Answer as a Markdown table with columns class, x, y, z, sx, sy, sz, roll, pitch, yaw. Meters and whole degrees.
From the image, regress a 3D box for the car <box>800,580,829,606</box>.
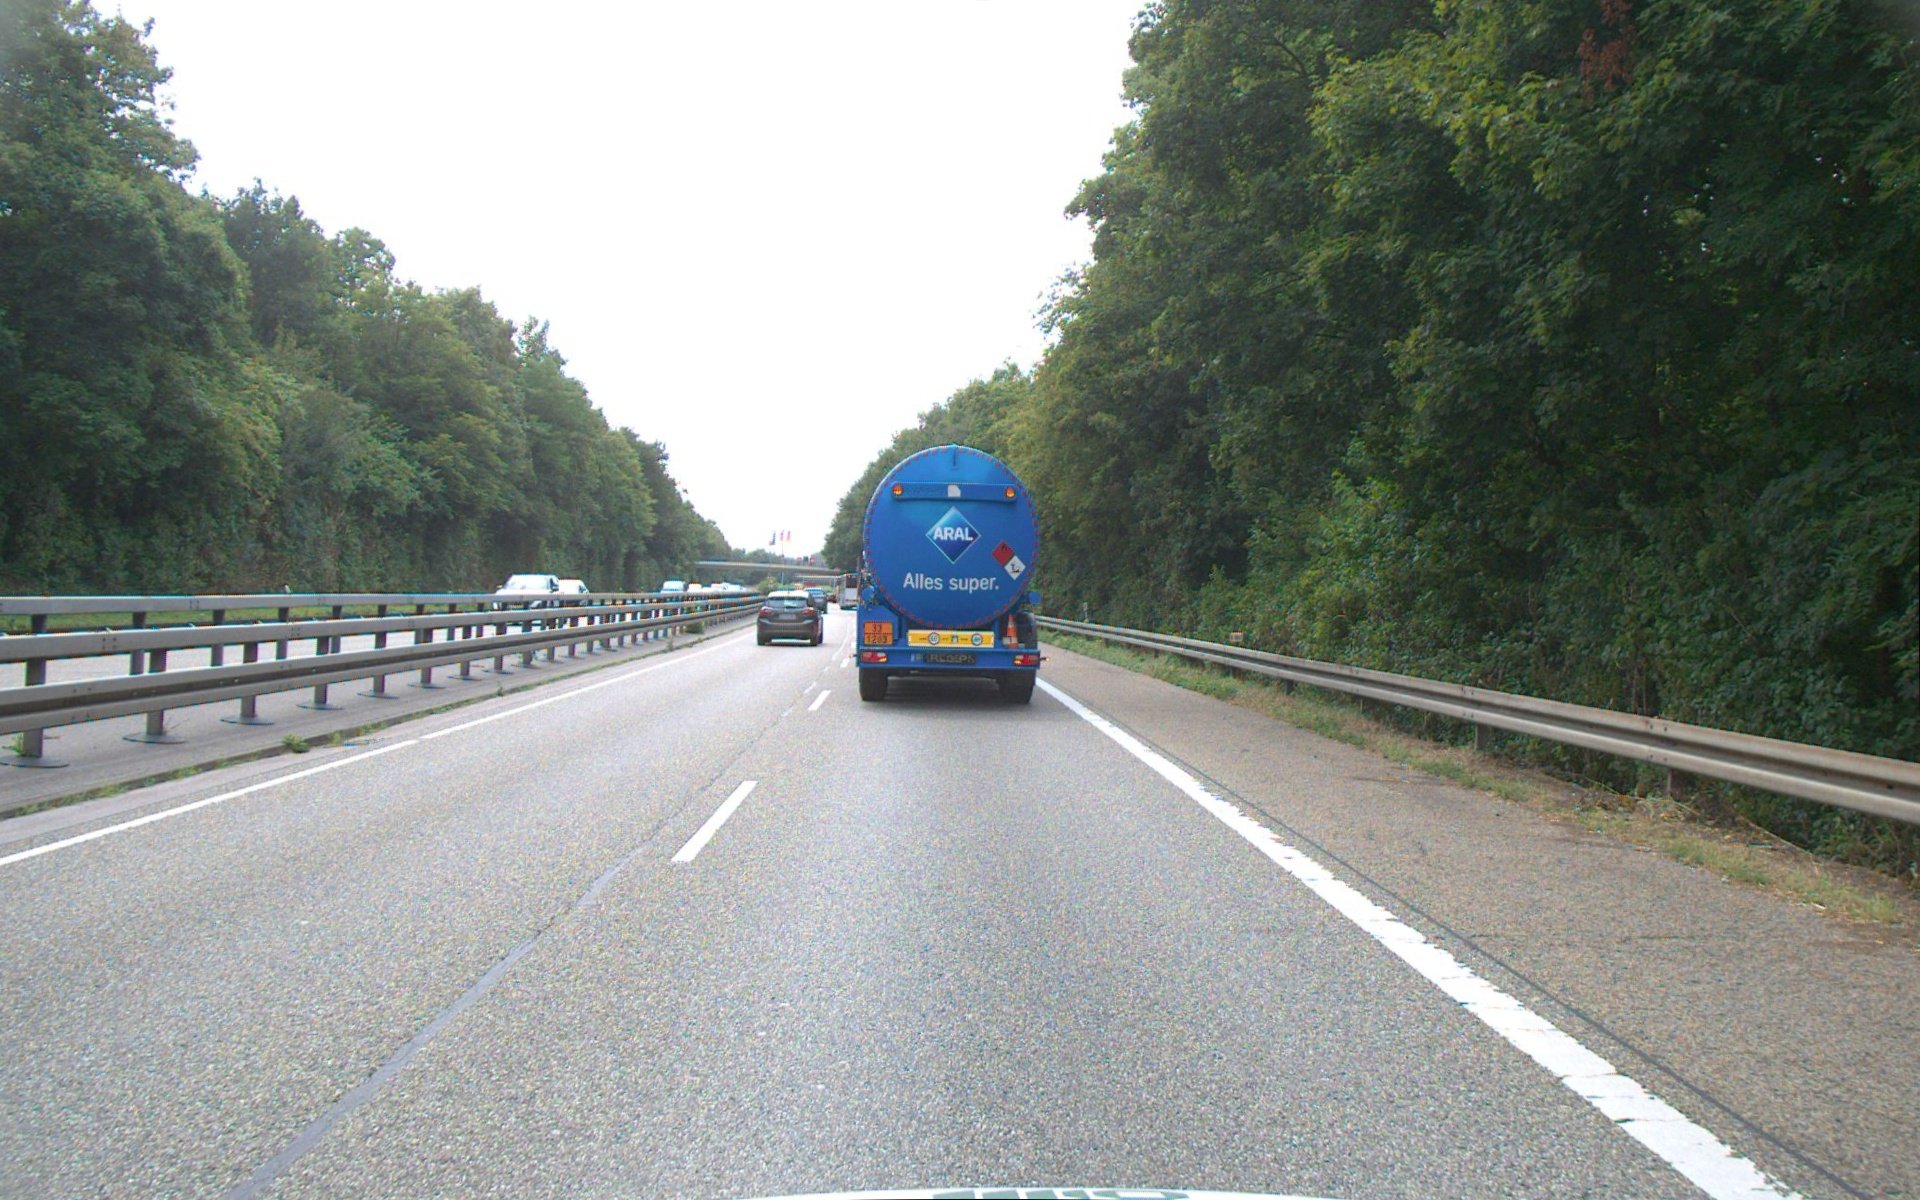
| class | x | y | z | sx | sy | sz | roll | pitch | yaw |
| --- | --- | --- | --- | --- | --- | --- | --- | --- | --- |
| car | -9.392 | -0.436 | 106.618 | 1.791 | 1.637 | 4.162 | 0 | 0 | -6 |

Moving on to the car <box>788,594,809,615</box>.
| class | x | y | z | sx | sy | sz | roll | pitch | yaw |
| --- | --- | --- | --- | --- | --- | --- | --- | --- | --- |
| car | -15.494 | 0.425 | 158.700 | 1.955 | 2.049 | 3.995 | 0 | 0 | -6 |

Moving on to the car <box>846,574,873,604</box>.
| class | x | y | z | sx | sy | sz | roll | pitch | yaw |
| --- | --- | --- | --- | --- | --- | --- | --- | --- | --- |
| car | -7.802 | -0.839 | 127.892 | 1.955 | 2.284 | 3.995 | 0 | 0 | -6 |

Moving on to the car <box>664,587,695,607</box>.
| class | x | y | z | sx | sy | sz | roll | pitch | yaw |
| --- | --- | --- | --- | --- | --- | --- | --- | --- | --- |
| car | -17.183 | -0.170 | 101.495 | 1.709 | 1.210 | 4.284 | 0 | 0 | -7 |

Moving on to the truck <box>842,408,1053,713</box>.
| class | x | y | z | sx | sy | sz | roll | pitch | yaw |
| --- | --- | --- | --- | --- | --- | --- | --- | --- | --- |
| truck | -0.168 | -0.537 | 25.132 | 2.699 | 3.914 | 7.688 | 0 | 0 | 0 |

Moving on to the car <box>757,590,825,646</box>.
| class | x | y | z | sx | sy | sz | roll | pitch | yaw |
| --- | --- | --- | --- | --- | --- | --- | --- | --- | --- |
| car | -4.712 | 0.471 | 46.617 | 1.790 | 1.483 | 4.635 | 0 | 0 | -4 |

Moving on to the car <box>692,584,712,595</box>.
| class | x | y | z | sx | sy | sz | roll | pitch | yaw |
| --- | --- | --- | --- | --- | --- | --- | --- | --- | --- |
| car | -29.069 | -1.166 | 186.457 | 1.707 | 1.210 | 4.288 | 0 | 0 | -3 |

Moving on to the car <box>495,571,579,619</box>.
| class | x | y | z | sx | sy | sz | roll | pitch | yaw |
| --- | --- | --- | --- | --- | --- | --- | --- | --- | --- |
| car | -13.108 | -0.159 | 51.462 | 1.610 | 1.413 | 4.289 | 0 | 0 | -2 |

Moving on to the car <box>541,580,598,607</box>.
| class | x | y | z | sx | sy | sz | roll | pitch | yaw |
| --- | --- | --- | --- | --- | --- | --- | --- | --- | --- |
| car | -18.292 | -0.307 | 77.637 | 1.707 | 1.210 | 4.289 | 0 | 0 | -1 |
